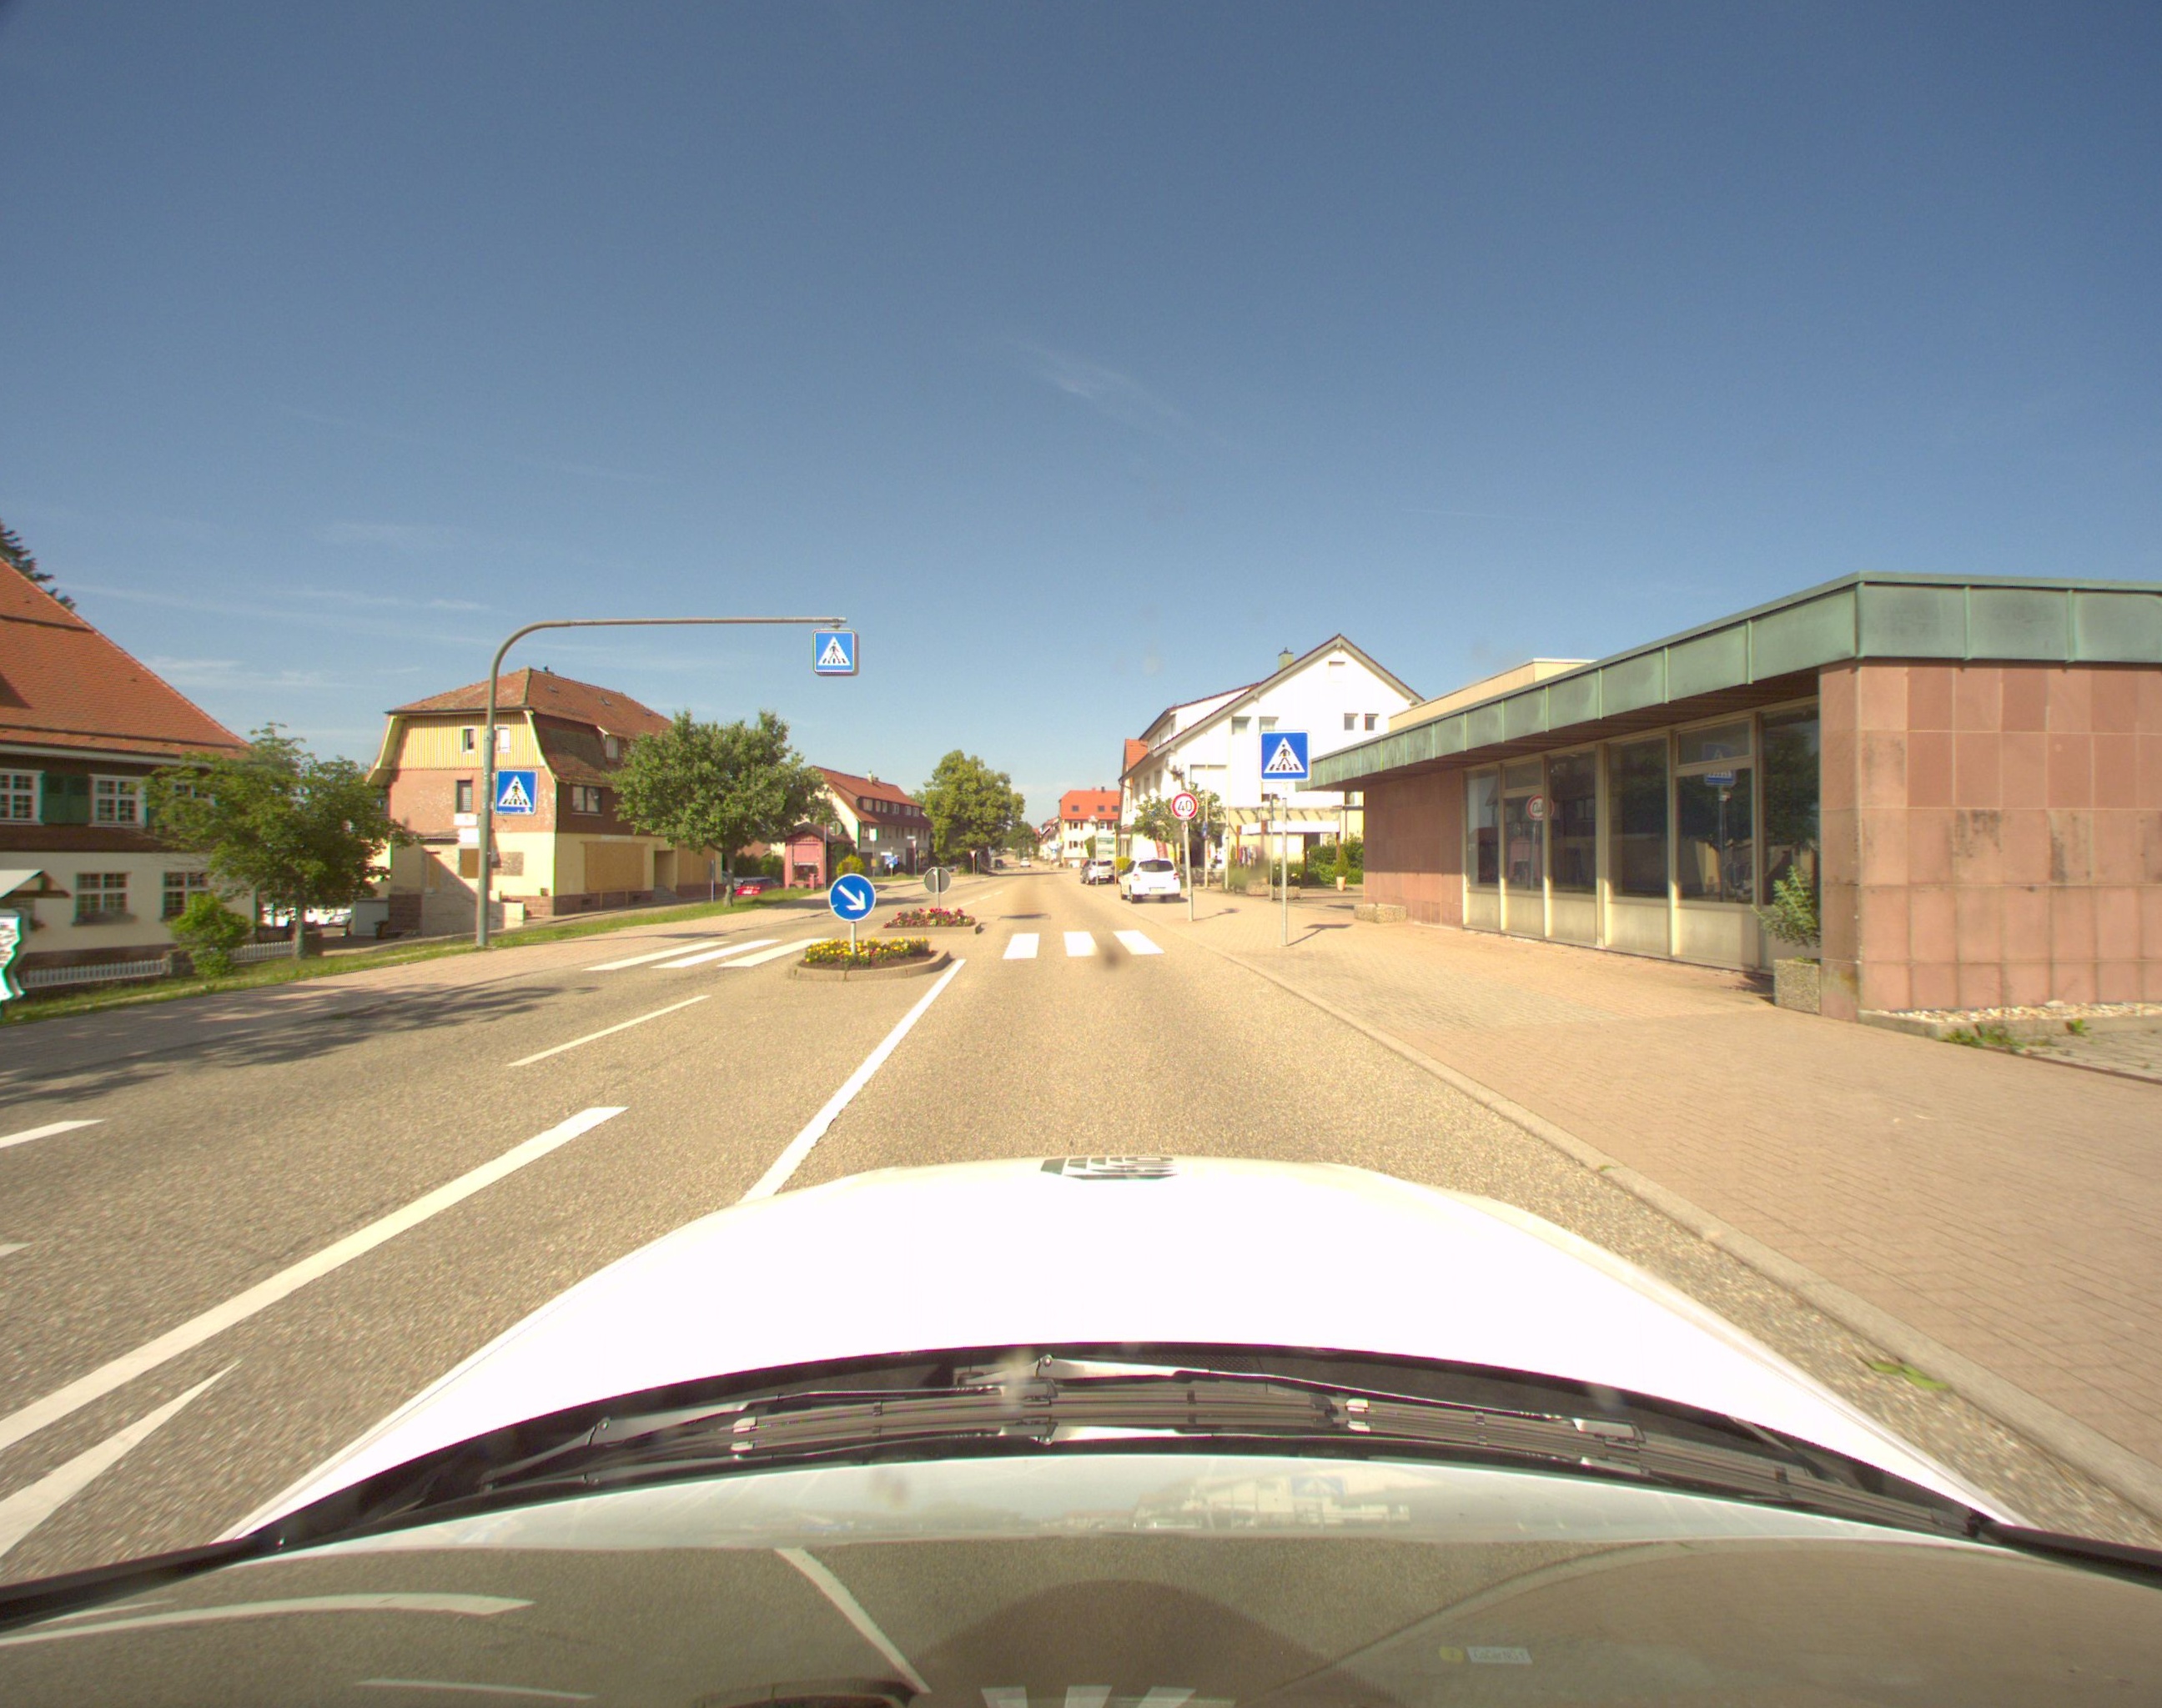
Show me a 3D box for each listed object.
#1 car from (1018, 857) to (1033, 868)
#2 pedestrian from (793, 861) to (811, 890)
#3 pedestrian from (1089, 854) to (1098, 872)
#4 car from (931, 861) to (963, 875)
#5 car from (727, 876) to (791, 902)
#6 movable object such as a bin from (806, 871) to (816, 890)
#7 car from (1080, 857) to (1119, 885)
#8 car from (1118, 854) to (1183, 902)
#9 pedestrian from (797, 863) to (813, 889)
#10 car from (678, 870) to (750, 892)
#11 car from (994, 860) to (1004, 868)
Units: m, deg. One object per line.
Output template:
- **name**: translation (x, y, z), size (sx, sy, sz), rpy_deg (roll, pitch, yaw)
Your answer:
- **car**: translation (-10.908, 1.705, 158.982), size (2.494, 2.013, 4.291), rpy_deg (-3, 0, -9)
- **pedestrian**: translation (-13.742, 1.030, 40.079), size (0.616, 1.364, 0.673), rpy_deg (-3, 1, -5)
- **pedestrian**: translation (1.286, 0.915, 83.881), size (0.796, 1.784, 0.980), rpy_deg (-2, 0, 1)
- **car**: translation (-17.280, 1.830, 105.057), size (3.738, 1.455, 1.821), rpy_deg (-3, -6, 8)
- **car**: translation (-19.576, 2.093, 49.663), size (1.710, 1.297, 4.012), rpy_deg (-3, 0, 11)
- **movable object such as a bin**: translation (-12.536, 1.233, 37.805), size (0.304, 0.837, 0.484), rpy_deg (-2, -1, -6)
- **car**: translation (0.999, 0.952, 45.947), size (1.634, 1.420, 3.925), rpy_deg (-3, 0, -7)
- **car**: translation (2.295, 0.762, 27.577), size (1.755, 1.423, 3.632), rpy_deg (-3, 0, -1)
- **pedestrian**: translation (-13.778, 1.080, 40.656), size (0.628, 1.253, 0.423), rpy_deg (-3, -1, -7)
- **car**: translation (-26.142, 1.921, 58.108), size (4.280, 1.512, 1.803), rpy_deg (0, -2, 6)
- **car**: translation (-15.248, 1.857, 151.163), size (1.669, 1.533, 3.530), rpy_deg (3, -1, -4)
